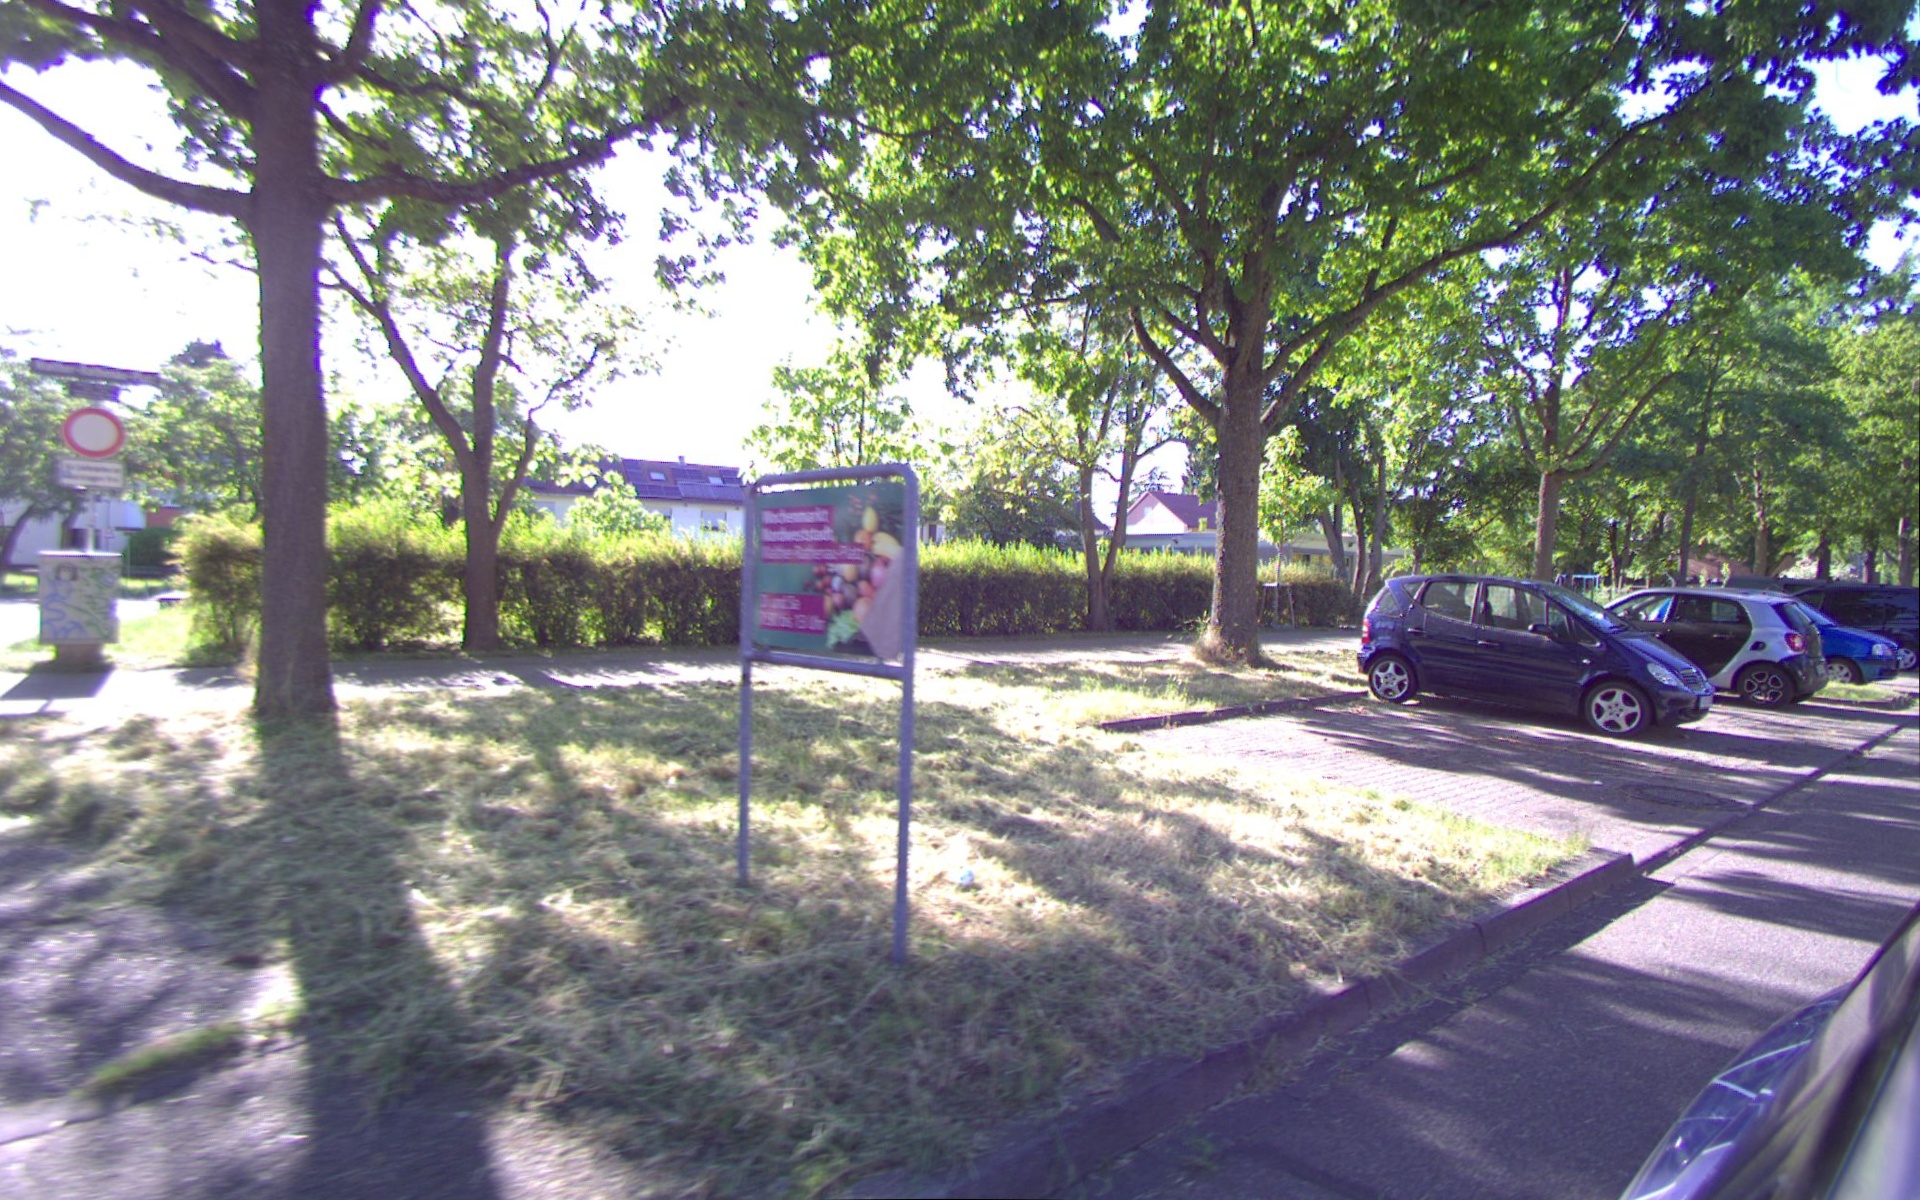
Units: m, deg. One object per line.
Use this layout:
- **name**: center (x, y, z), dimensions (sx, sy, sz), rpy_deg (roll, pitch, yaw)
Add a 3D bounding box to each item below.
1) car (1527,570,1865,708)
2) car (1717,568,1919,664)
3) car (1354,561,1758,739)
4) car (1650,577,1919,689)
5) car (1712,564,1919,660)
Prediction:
- **car**: center (10.554, 0.456, 14.712), dimensions (1.754, 1.595, 3.594), rpy_deg (0, 3, -39)
- **car**: center (19.689, 0.316, 22.719), dimensions (1.769, 1.859, 4.015), rpy_deg (0, 4, -43)
- **car**: center (6.744, 0.428, 11.712), dimensions (1.825, 1.595, 3.591), rpy_deg (0, 3, -41)
- **car**: center (14.253, 0.477, 17.448), dimensions (1.635, 1.550, 3.531), rpy_deg (0, 3, -39)
- **car**: center (21.427, 0.252, 24.507), dimensions (1.910, 2.057, 4.813), rpy_deg (0, 3, -41)
